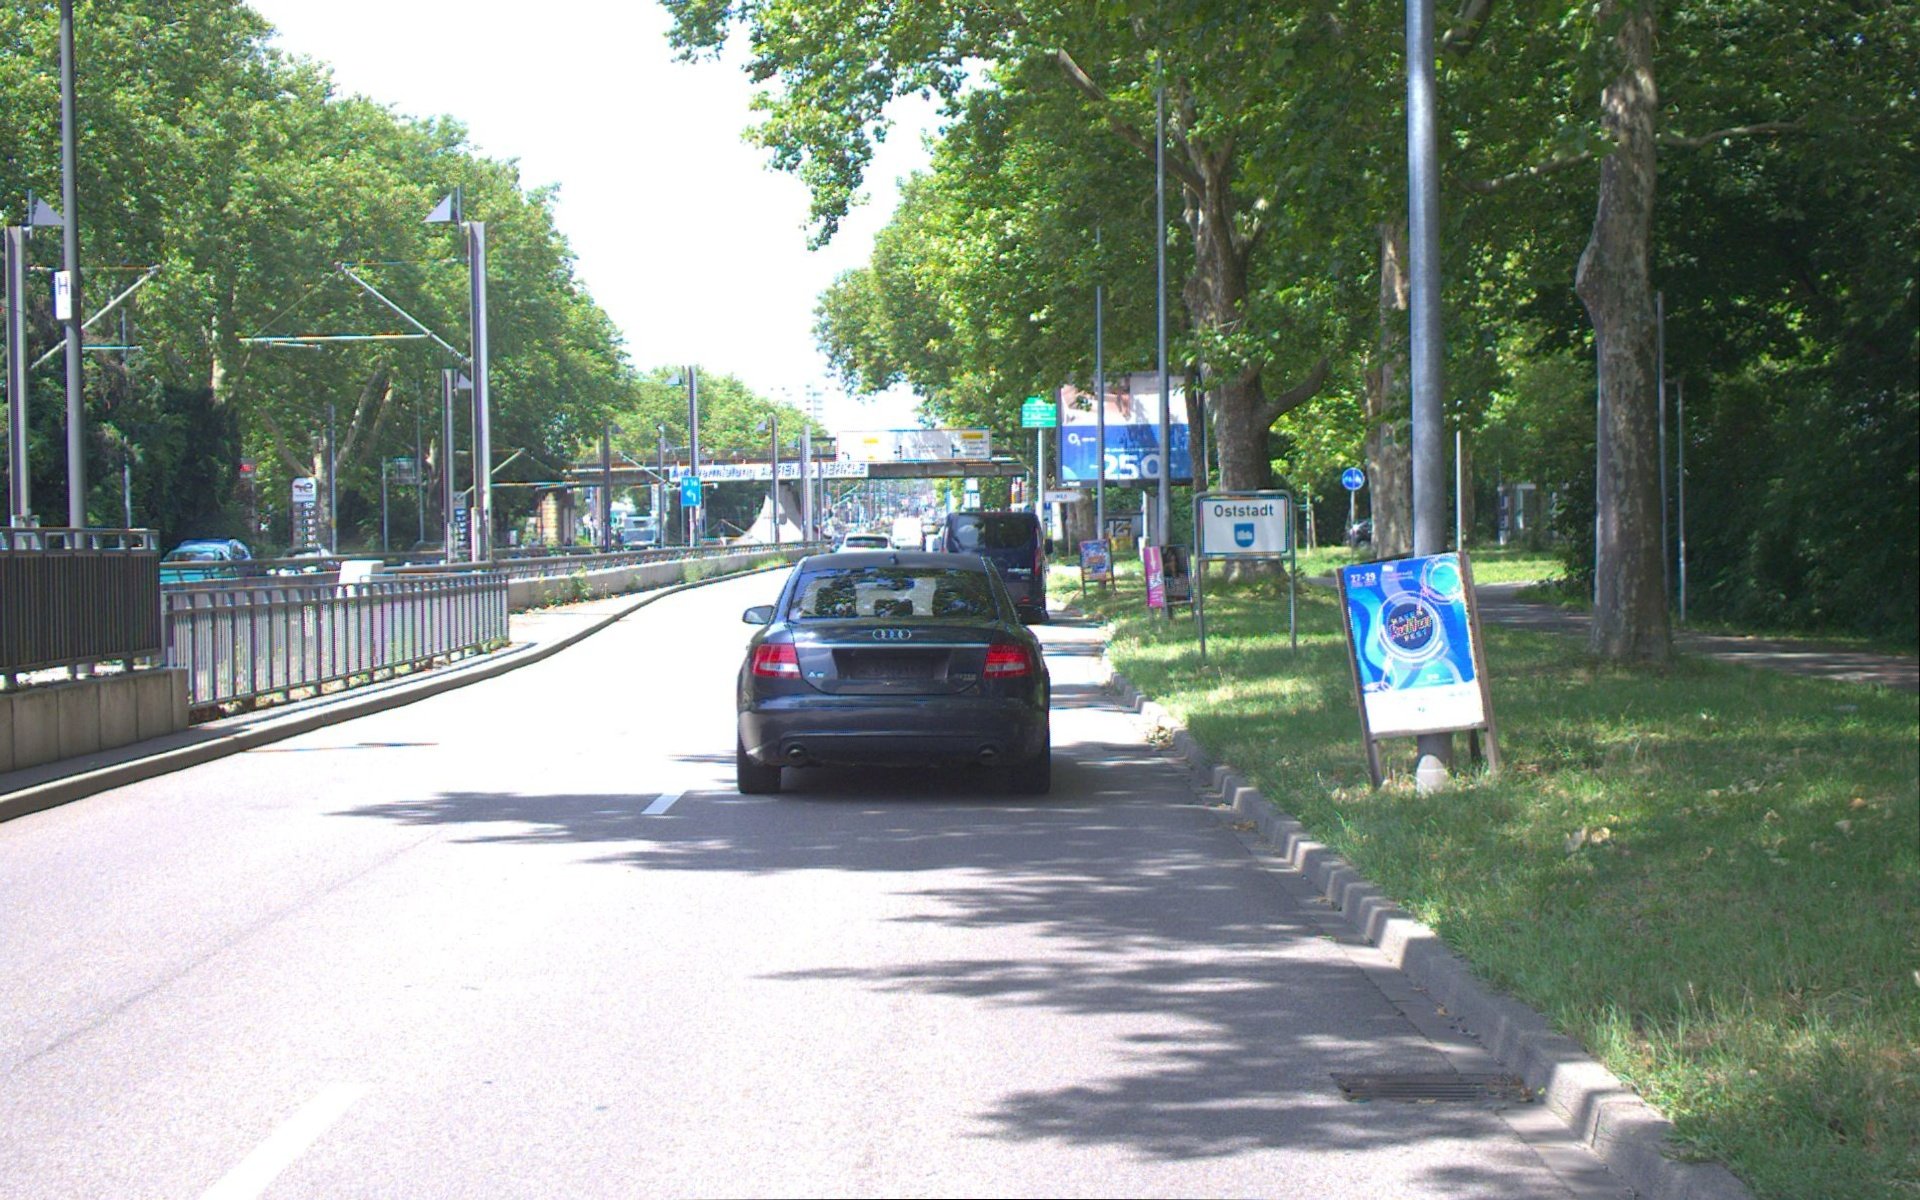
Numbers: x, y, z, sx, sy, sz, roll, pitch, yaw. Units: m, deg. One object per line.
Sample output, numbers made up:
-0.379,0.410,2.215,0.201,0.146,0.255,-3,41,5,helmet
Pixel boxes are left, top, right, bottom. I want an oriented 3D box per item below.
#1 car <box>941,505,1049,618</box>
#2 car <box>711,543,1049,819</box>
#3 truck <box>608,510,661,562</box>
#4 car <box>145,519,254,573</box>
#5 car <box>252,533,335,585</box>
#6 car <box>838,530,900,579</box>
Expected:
0.662,-0.714,62.441,1.848,1.953,4.144,1,1,2,car
-0.450,0.410,20.899,1.842,1.479,4.000,-1,1,0,car
-19.626,-3.864,207.561,2.990,3.010,8.001,-1,1,-4,truck
-18.200,-1.302,82.406,1.645,1.261,3.837,-1,1,2,car
-22.195,-1.389,114.609,1.744,1.678,4.384,-1,1,2,car
-2.812,-1.417,105.282,1.845,1.459,4.000,0,1,-2,car
